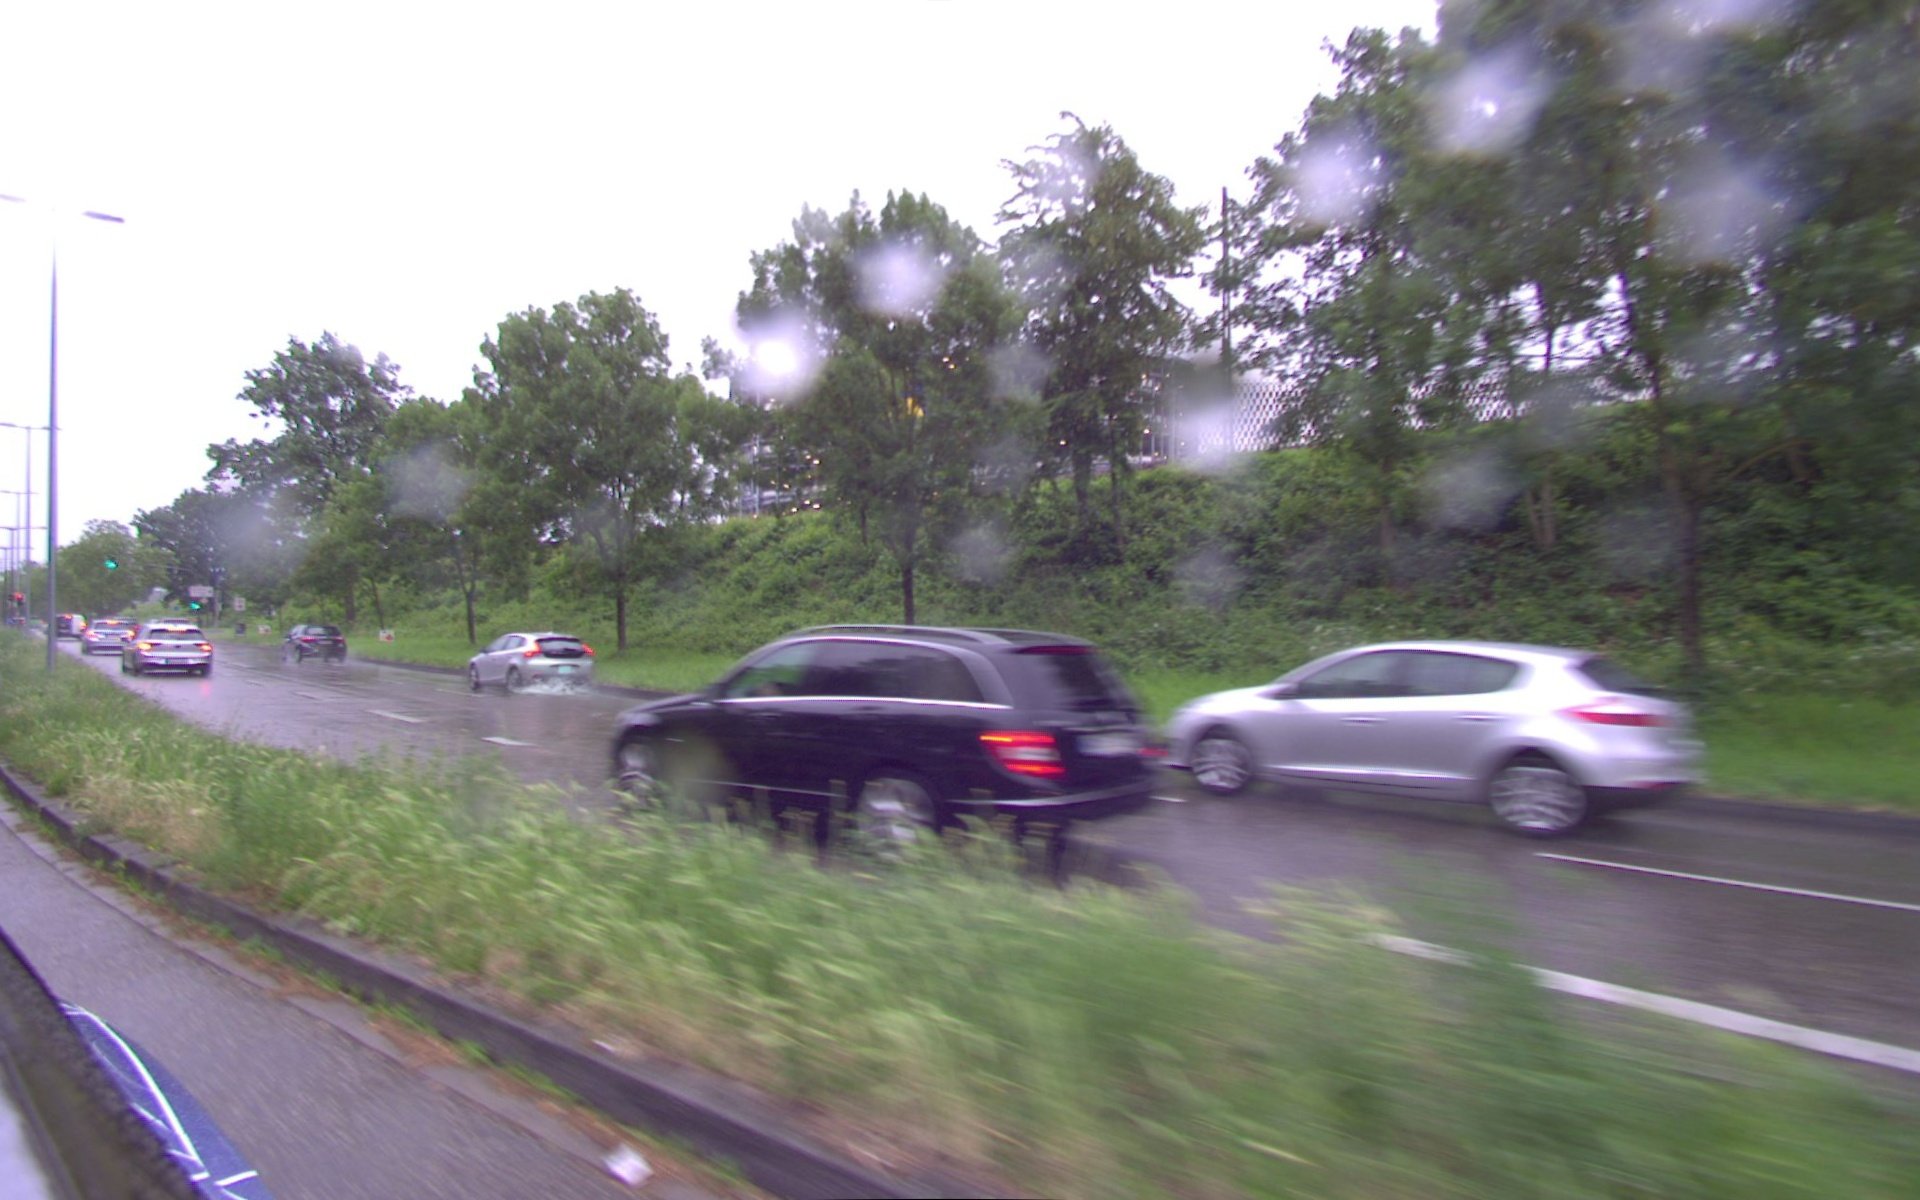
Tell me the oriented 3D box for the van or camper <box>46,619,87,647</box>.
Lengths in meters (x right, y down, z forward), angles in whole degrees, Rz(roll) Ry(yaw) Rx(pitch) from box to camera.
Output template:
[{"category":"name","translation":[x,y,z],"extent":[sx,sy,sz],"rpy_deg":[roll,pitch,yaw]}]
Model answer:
[{"category":"van or camper","translation":[-59.670,2.200,67.567],"extent":[1.708,1.755,4.002],"rpy_deg":[5,-4,-45]}]

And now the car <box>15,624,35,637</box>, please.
[{"category":"car","translation":[-113.941,3.712,123.346],"extent":[1.755,1.573,3.777],"rpy_deg":[0,-1,-43]}]

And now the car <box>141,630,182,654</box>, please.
[{"category":"car","translation":[-59.841,3.157,75.820],"extent":[1.970,1.700,4.713],"rpy_deg":[4,-4,-43]}]

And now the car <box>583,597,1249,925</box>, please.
[{"category":"car","translation":[-0.568,0.864,7.180],"extent":[4.706,1.586,1.889],"rpy_deg":[-1,-4,41]}]

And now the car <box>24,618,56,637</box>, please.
[{"category":"car","translation":[-84.758,2.574,93.220],"extent":[1.970,1.700,4.713],"rpy_deg":[4,-4,-43]}]

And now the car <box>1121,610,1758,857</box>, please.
[{"category":"car","translation":[3.894,0.980,8.931],"extent":[1.886,1.586,4.713],"rpy_deg":[5,-5,-43]}]

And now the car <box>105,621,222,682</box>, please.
[{"category":"car","translation":[-22.734,1.437,28.820],"extent":[4.709,1.586,1.887],"rpy_deg":[-2,-4,43]}]

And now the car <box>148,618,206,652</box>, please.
[{"category":"car","translation":[-41.855,1.886,54.067],"extent":[1.970,1.700,4.713],"rpy_deg":[4,-4,-43]}]

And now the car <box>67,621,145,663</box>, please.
[{"category":"car","translation":[-36.575,1.785,43.333],"extent":[4.110,1.625,1.878],"rpy_deg":[-1,-5,42]}]

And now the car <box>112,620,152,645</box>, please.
[{"category":"car","translation":[-58.231,2.292,71.121],"extent":[1.875,1.625,4.116],"rpy_deg":[4,-4,-42]}]

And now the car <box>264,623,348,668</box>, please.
[{"category":"car","translation":[-26.510,1.823,40.964],"extent":[1.970,1.700,4.713],"rpy_deg":[3,-4,-43]}]

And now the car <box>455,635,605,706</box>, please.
[{"category":"car","translation":[-10.264,1.602,23.985],"extent":[1.814,1.514,4.444],"rpy_deg":[3,-4,-43]}]
